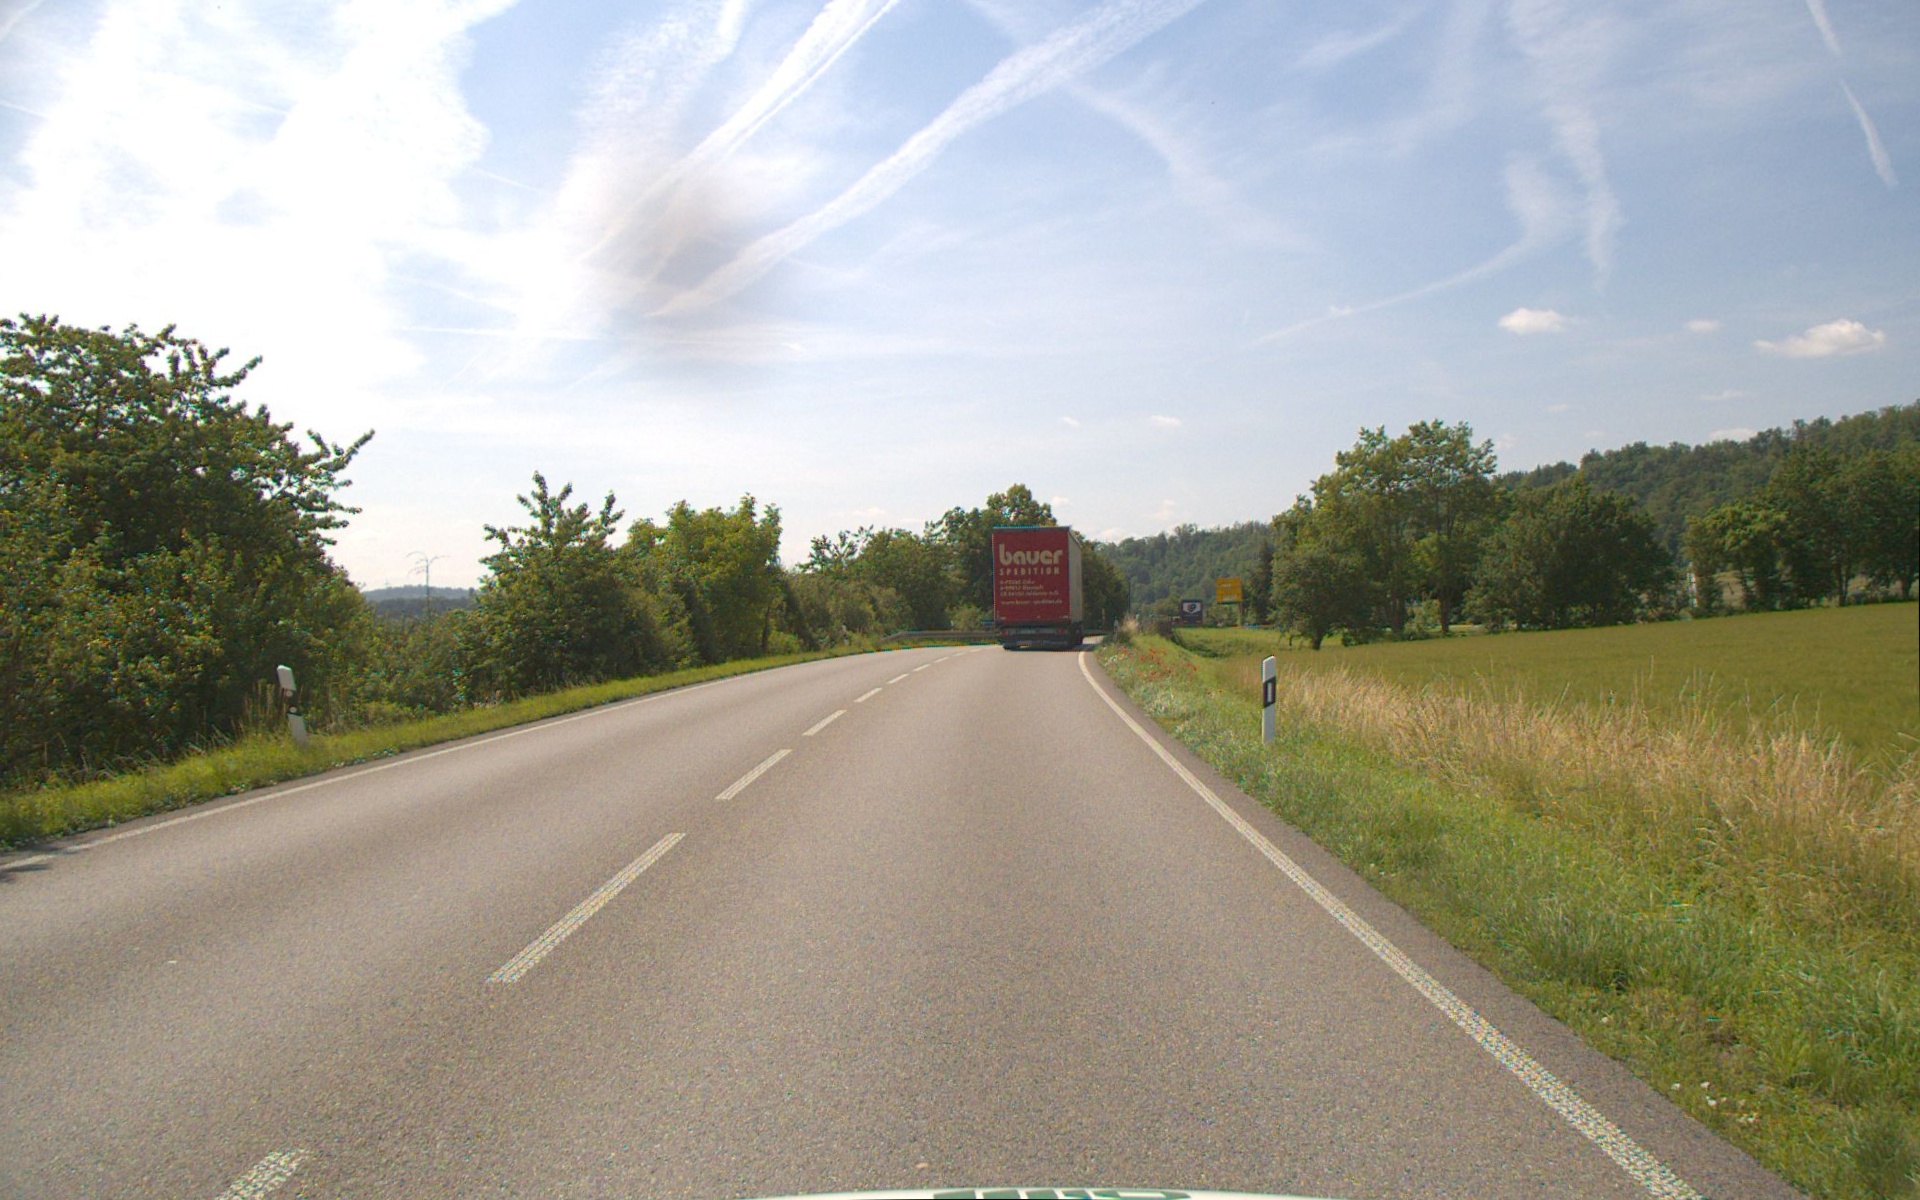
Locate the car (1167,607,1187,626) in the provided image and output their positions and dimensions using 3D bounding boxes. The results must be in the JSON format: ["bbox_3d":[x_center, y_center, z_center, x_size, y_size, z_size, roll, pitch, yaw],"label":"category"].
[{"bbox_3d":[22.881,1.791,174.197,1.951,1.842,4.002,1,-2,8],"label":"car"}]

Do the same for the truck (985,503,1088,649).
[{"bbox_3d":[2.993,-0.774,60.124,3.105,4.706,13.552,0,0,5],"label":"truck"}]

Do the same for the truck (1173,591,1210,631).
[{"bbox_3d":[28.544,1.435,203.072,3.821,4.447,13.301,0,-2,11],"label":"truck"}]
